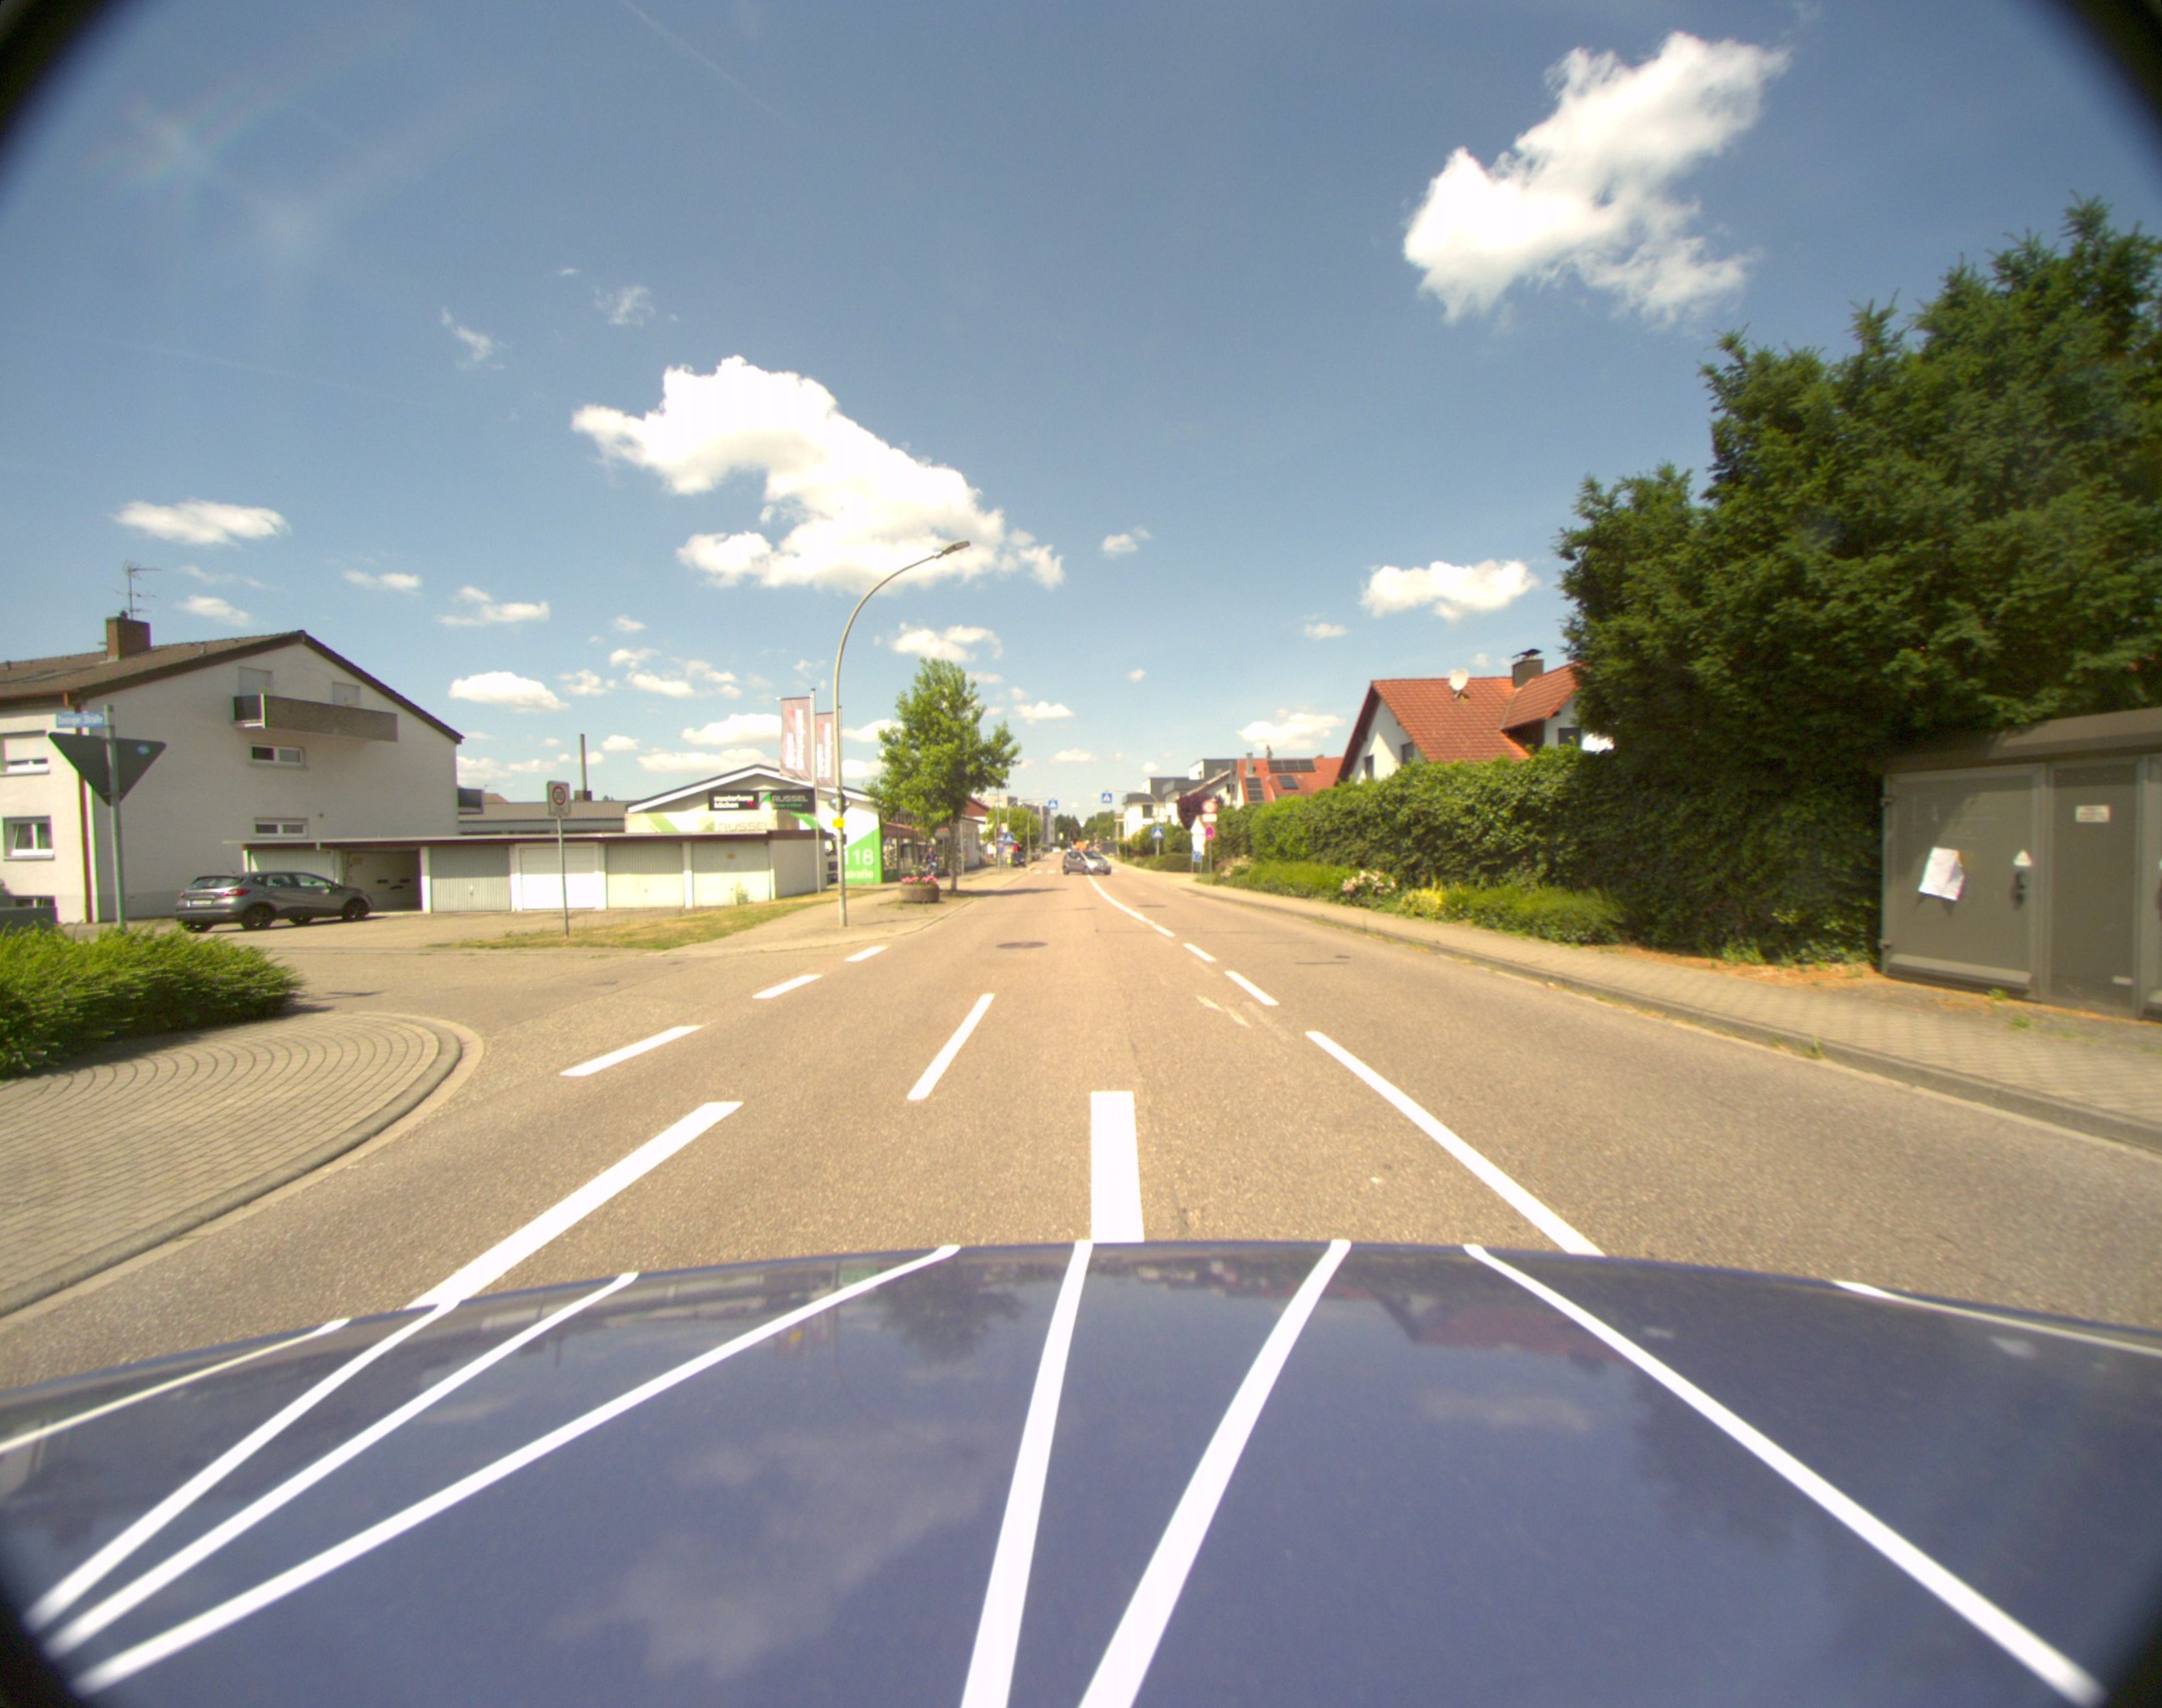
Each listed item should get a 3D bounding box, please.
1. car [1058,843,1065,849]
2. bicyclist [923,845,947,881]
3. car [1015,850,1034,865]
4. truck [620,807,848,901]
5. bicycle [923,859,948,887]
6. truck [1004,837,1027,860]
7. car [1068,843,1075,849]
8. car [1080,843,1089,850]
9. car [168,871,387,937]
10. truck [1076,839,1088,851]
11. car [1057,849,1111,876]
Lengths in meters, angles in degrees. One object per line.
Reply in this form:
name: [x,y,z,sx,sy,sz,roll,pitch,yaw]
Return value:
car: [-4.764,-2.083,187.259,1.729,1.484,3.759,0,1,0]
bicyclist: [-6.767,0.418,35.295,0.805,1.620,1.111,-5,0,-3]
car: [-5.671,0.346,76.679,1.729,1.484,3.759,0,1,-1]
truck: [-14.424,-0.040,32.101,8.192,3.553,2.676,-2,2,-1]
bicycle: [-6.784,0.870,35.464,0.805,1.158,1.942,-5,0,-3]
truck: [-7.978,-0.701,91.701,2.580,2.746,6.329,0,1,-7]
car: [-2.577,-2.159,203.885,1.729,1.484,3.760,0,1,2]
car: [0.830,-1.687,164.731,1.799,1.480,3.612,0,1,-1]
car: [-22.306,1.314,21.376,1.679,1.494,4.131,-2,1,1]
truck: [0.153,-2.197,184.321,2.864,2.695,6.789,0,1,-1]
car: [0.157,0.564,49.090,1.726,1.590,3.751,-4,1,-30]
